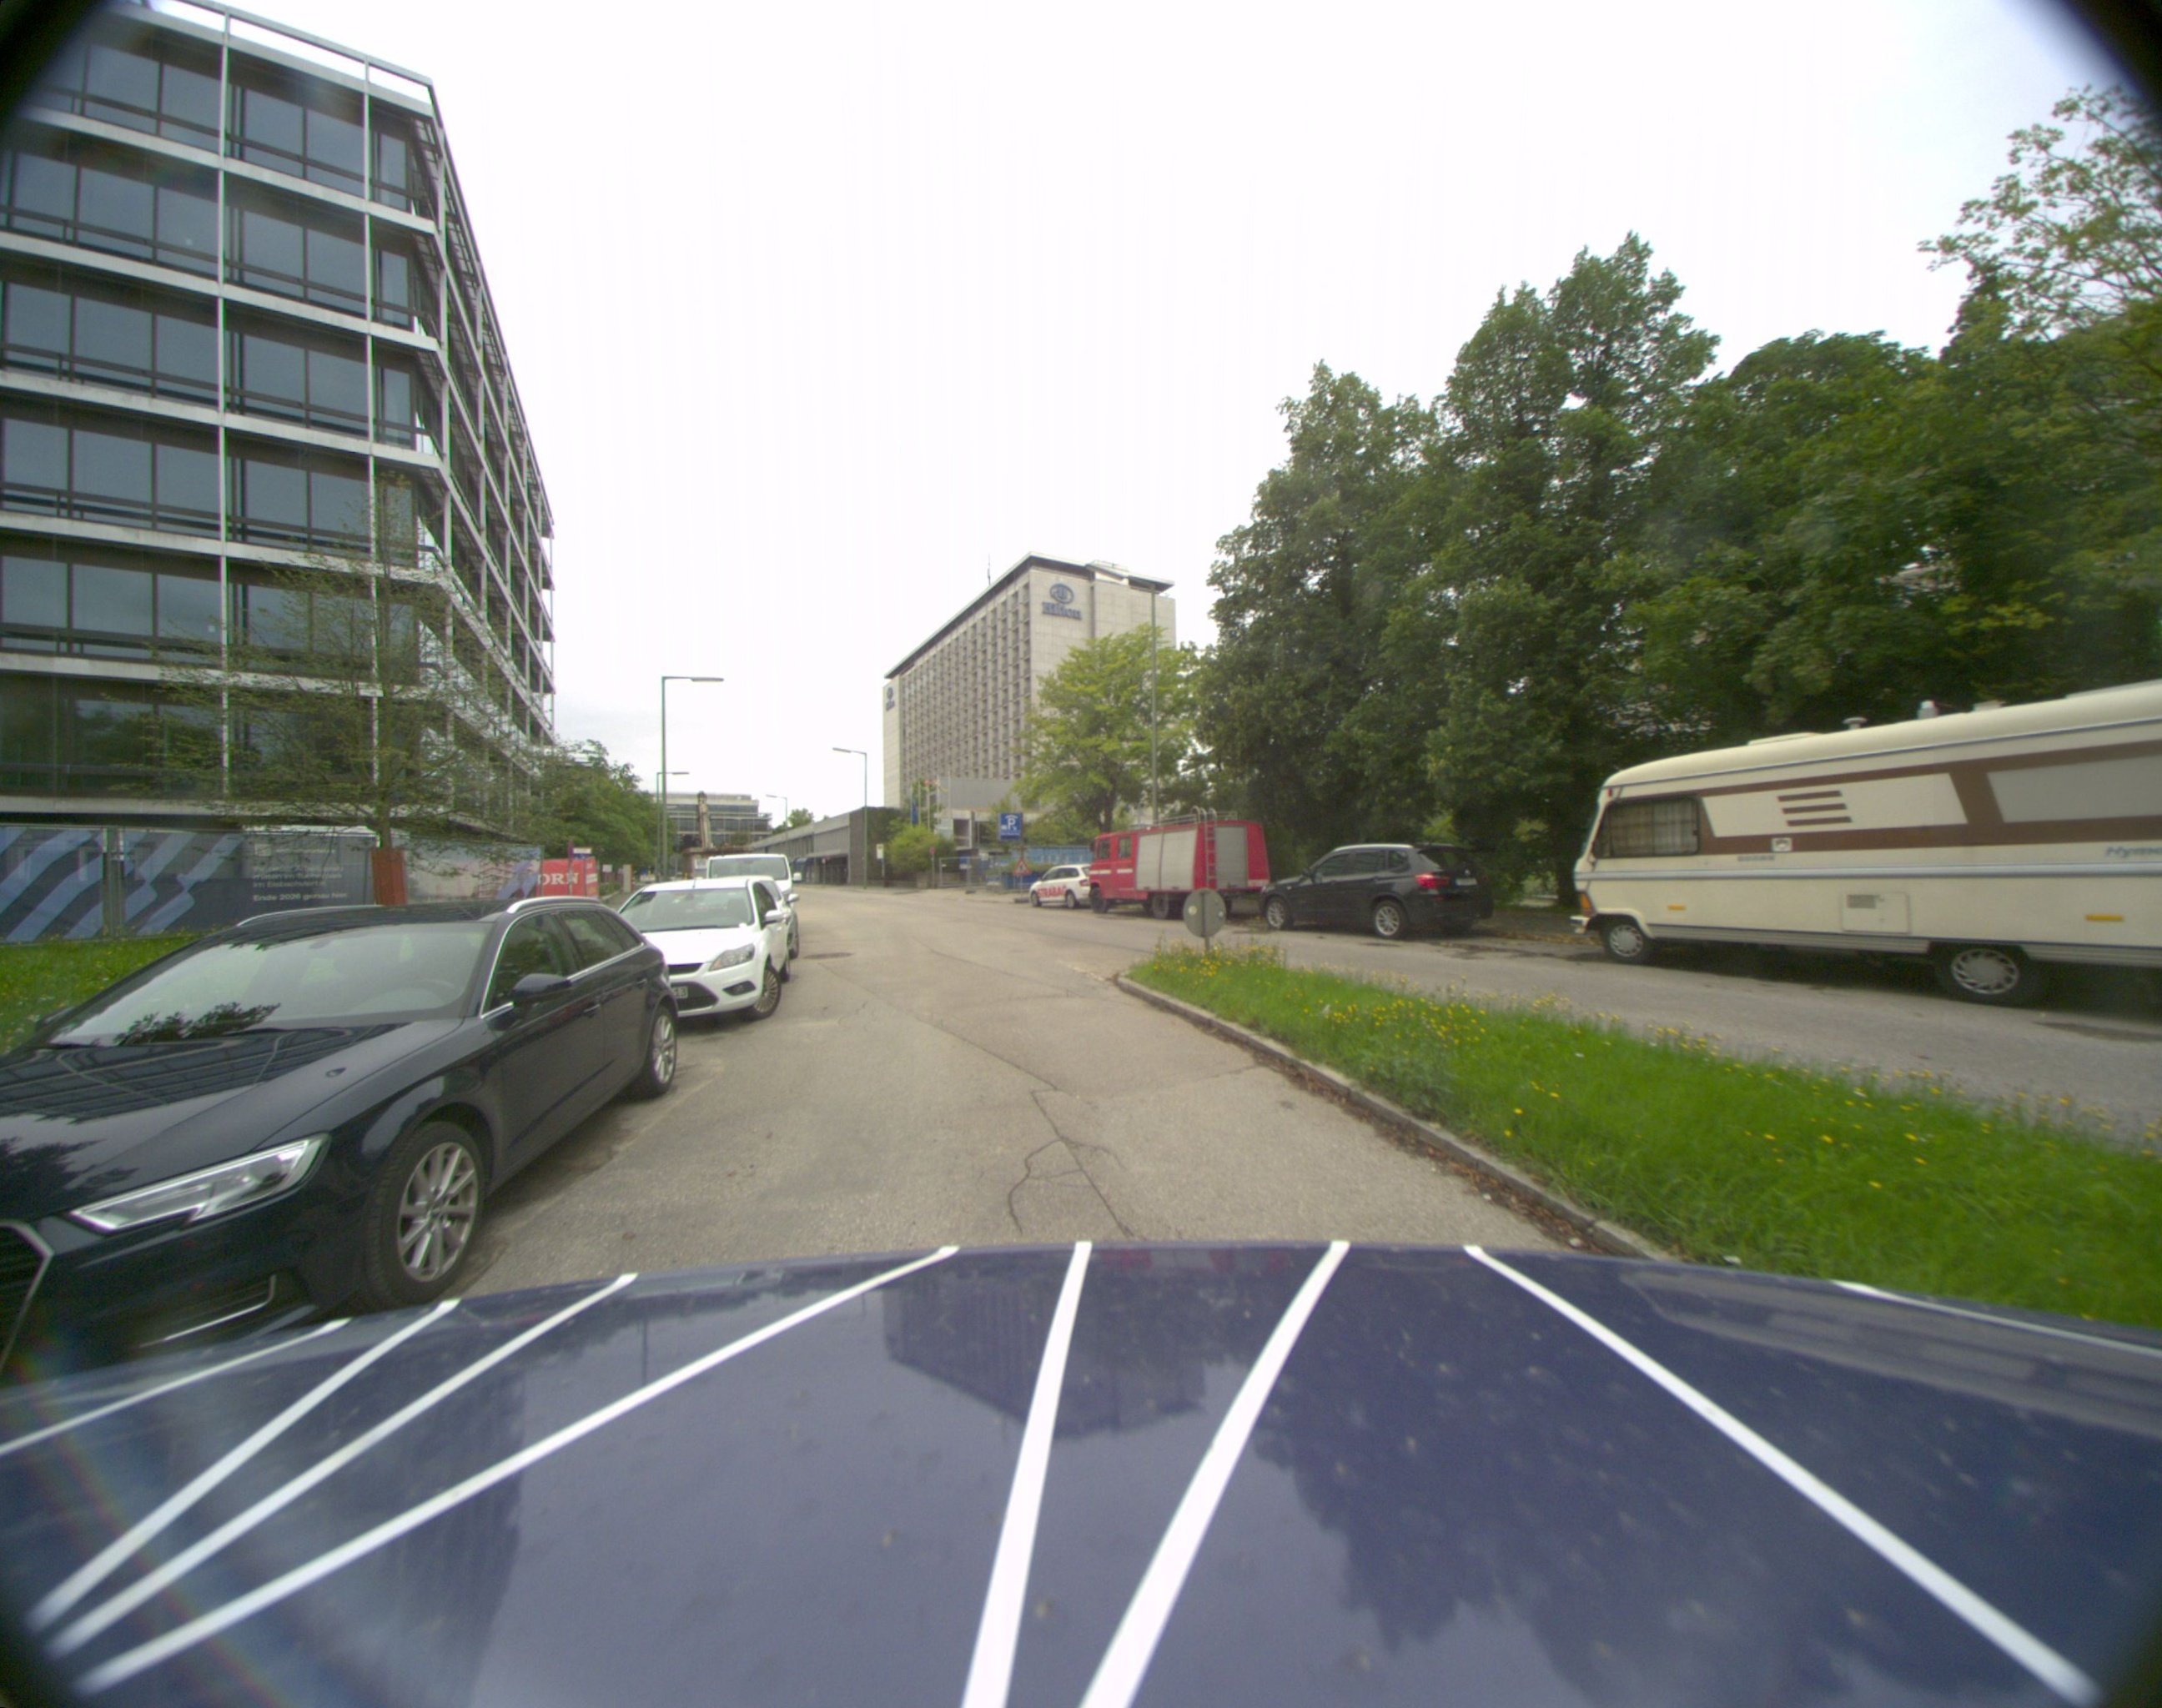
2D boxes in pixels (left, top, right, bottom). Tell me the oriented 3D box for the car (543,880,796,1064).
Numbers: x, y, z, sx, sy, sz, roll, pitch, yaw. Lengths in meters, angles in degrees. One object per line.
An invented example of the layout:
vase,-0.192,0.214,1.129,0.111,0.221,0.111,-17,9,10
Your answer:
car,-4.457,1.107,8.928,1.773,1.477,4.215,-1,0,-17

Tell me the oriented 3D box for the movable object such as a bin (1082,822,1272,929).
movable object such as a bin,2.307,0.529,20.654,2.114,2.444,6.174,-1,0,-25

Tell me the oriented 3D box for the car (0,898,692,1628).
car,-3.500,1.028,3.646,1.879,1.428,4.324,0,-1,-13

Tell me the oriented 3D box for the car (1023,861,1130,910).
car,-0.239,1.042,26.658,1.785,1.540,4.247,-1,0,-31

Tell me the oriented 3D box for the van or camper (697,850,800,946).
van or camper,-8.281,0.953,18.943,2.002,2.002,5.366,-1,0,-24

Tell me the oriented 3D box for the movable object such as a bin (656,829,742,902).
movable object such as a bin,-22.026,0.610,43.468,3.257,3.695,8.985,-1,0,-34

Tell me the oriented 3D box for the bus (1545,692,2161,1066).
bus,8.195,0.195,7.735,2.325,2.683,5.725,-1,0,-19

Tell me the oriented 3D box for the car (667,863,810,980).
car,-6.180,1.046,13.949,2.002,1.718,4.441,-1,0,-23

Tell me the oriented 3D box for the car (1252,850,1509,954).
car,5.414,0.793,14.405,1.784,1.639,4.451,-1,0,-27
